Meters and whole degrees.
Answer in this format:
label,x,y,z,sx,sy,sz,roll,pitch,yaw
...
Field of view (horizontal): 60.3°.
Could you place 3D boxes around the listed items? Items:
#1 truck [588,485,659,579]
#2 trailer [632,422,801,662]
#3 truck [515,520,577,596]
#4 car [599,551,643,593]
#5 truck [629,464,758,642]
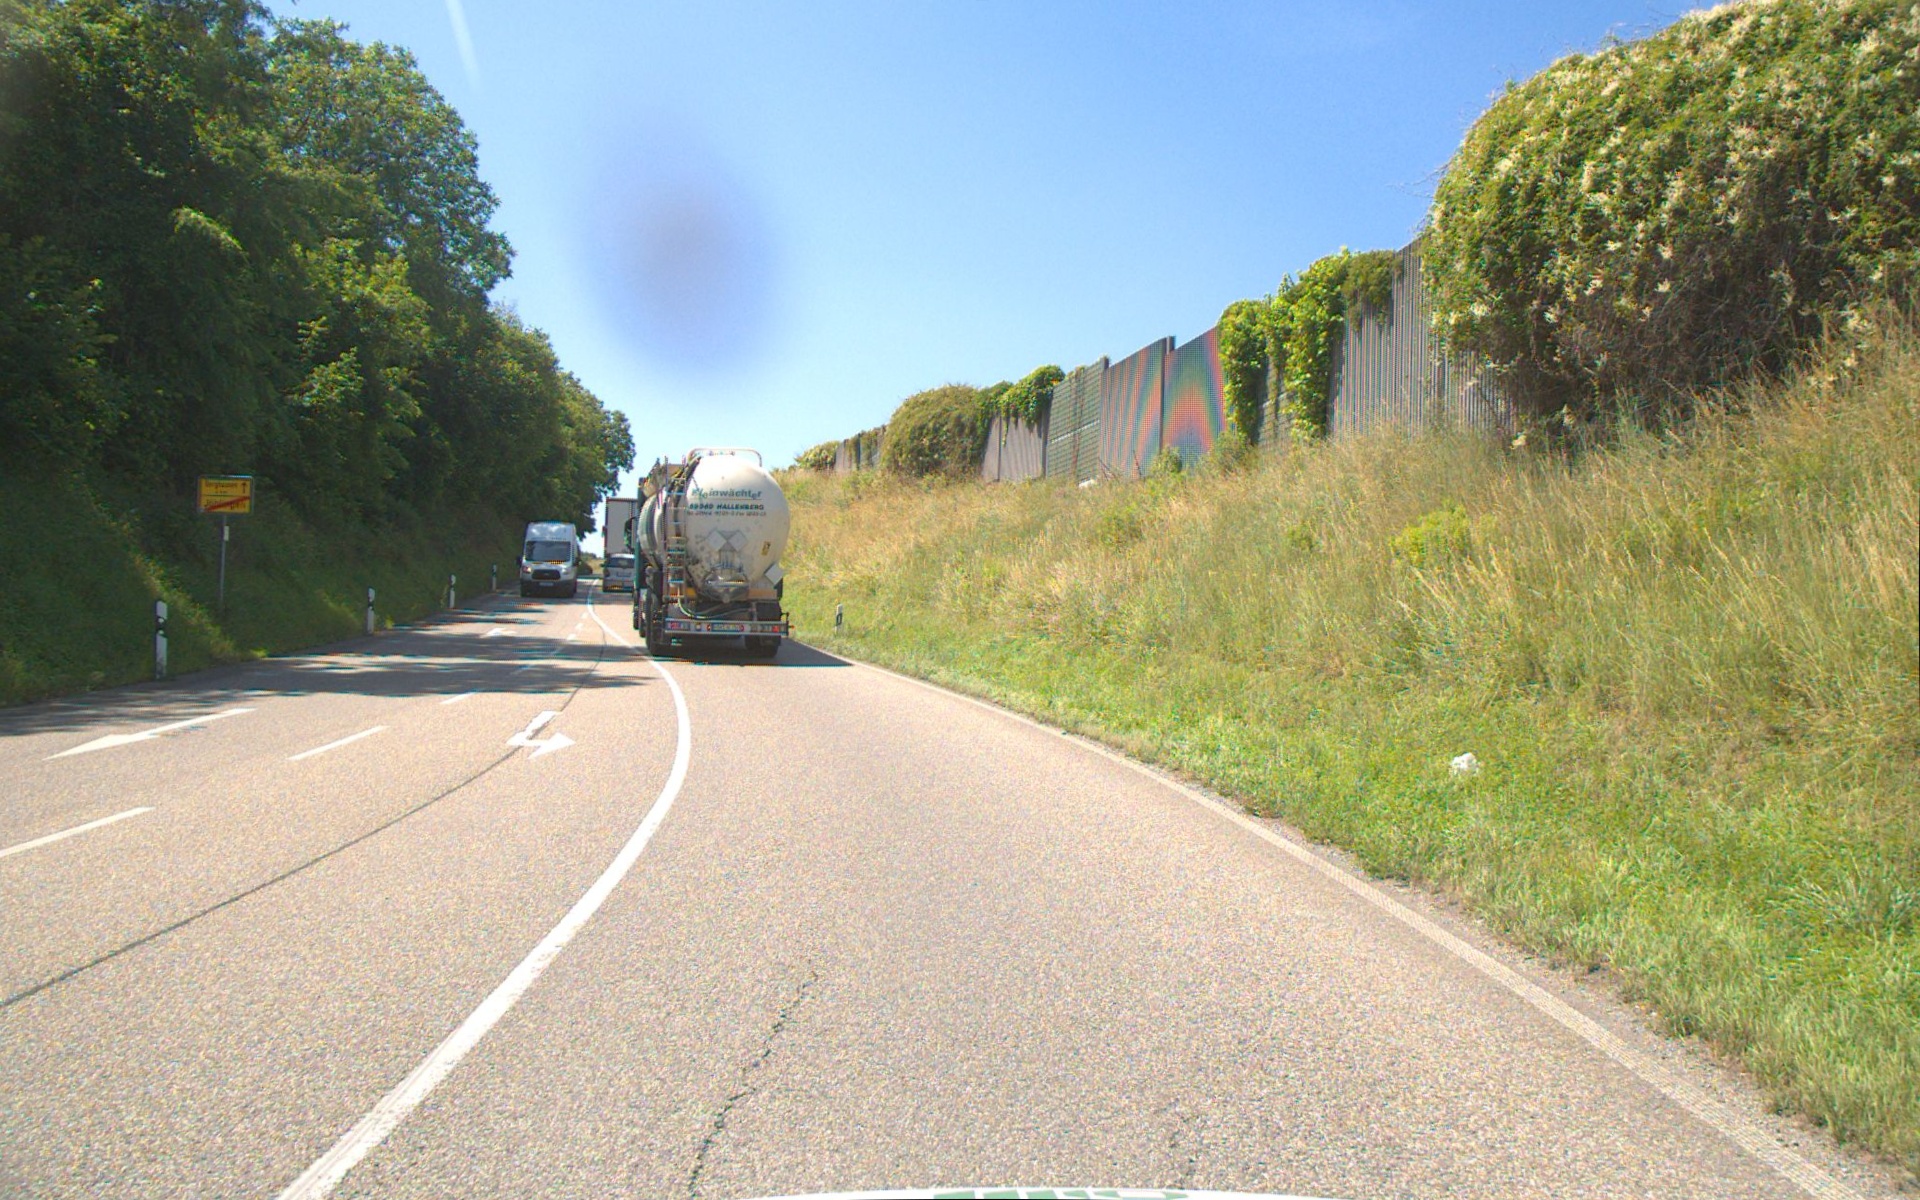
label,x,y,z,sx,sy,sz,roll,pitch,yaw
truck,-17.772,-3.562,87.228,3.135,4.383,11.767,4,1,-12
trailer,-5.537,-1.147,35.716,2.615,4.261,11.866,1,1,-13
truck,-16.012,-1.703,64.224,2.017,2.733,5.965,2,2,-12
car,-14.295,-1.188,69.600,1.620,1.535,3.627,2,3,-14
truck,-6.802,-1.074,41.417,2.680,3.998,7.239,1,0,-13
